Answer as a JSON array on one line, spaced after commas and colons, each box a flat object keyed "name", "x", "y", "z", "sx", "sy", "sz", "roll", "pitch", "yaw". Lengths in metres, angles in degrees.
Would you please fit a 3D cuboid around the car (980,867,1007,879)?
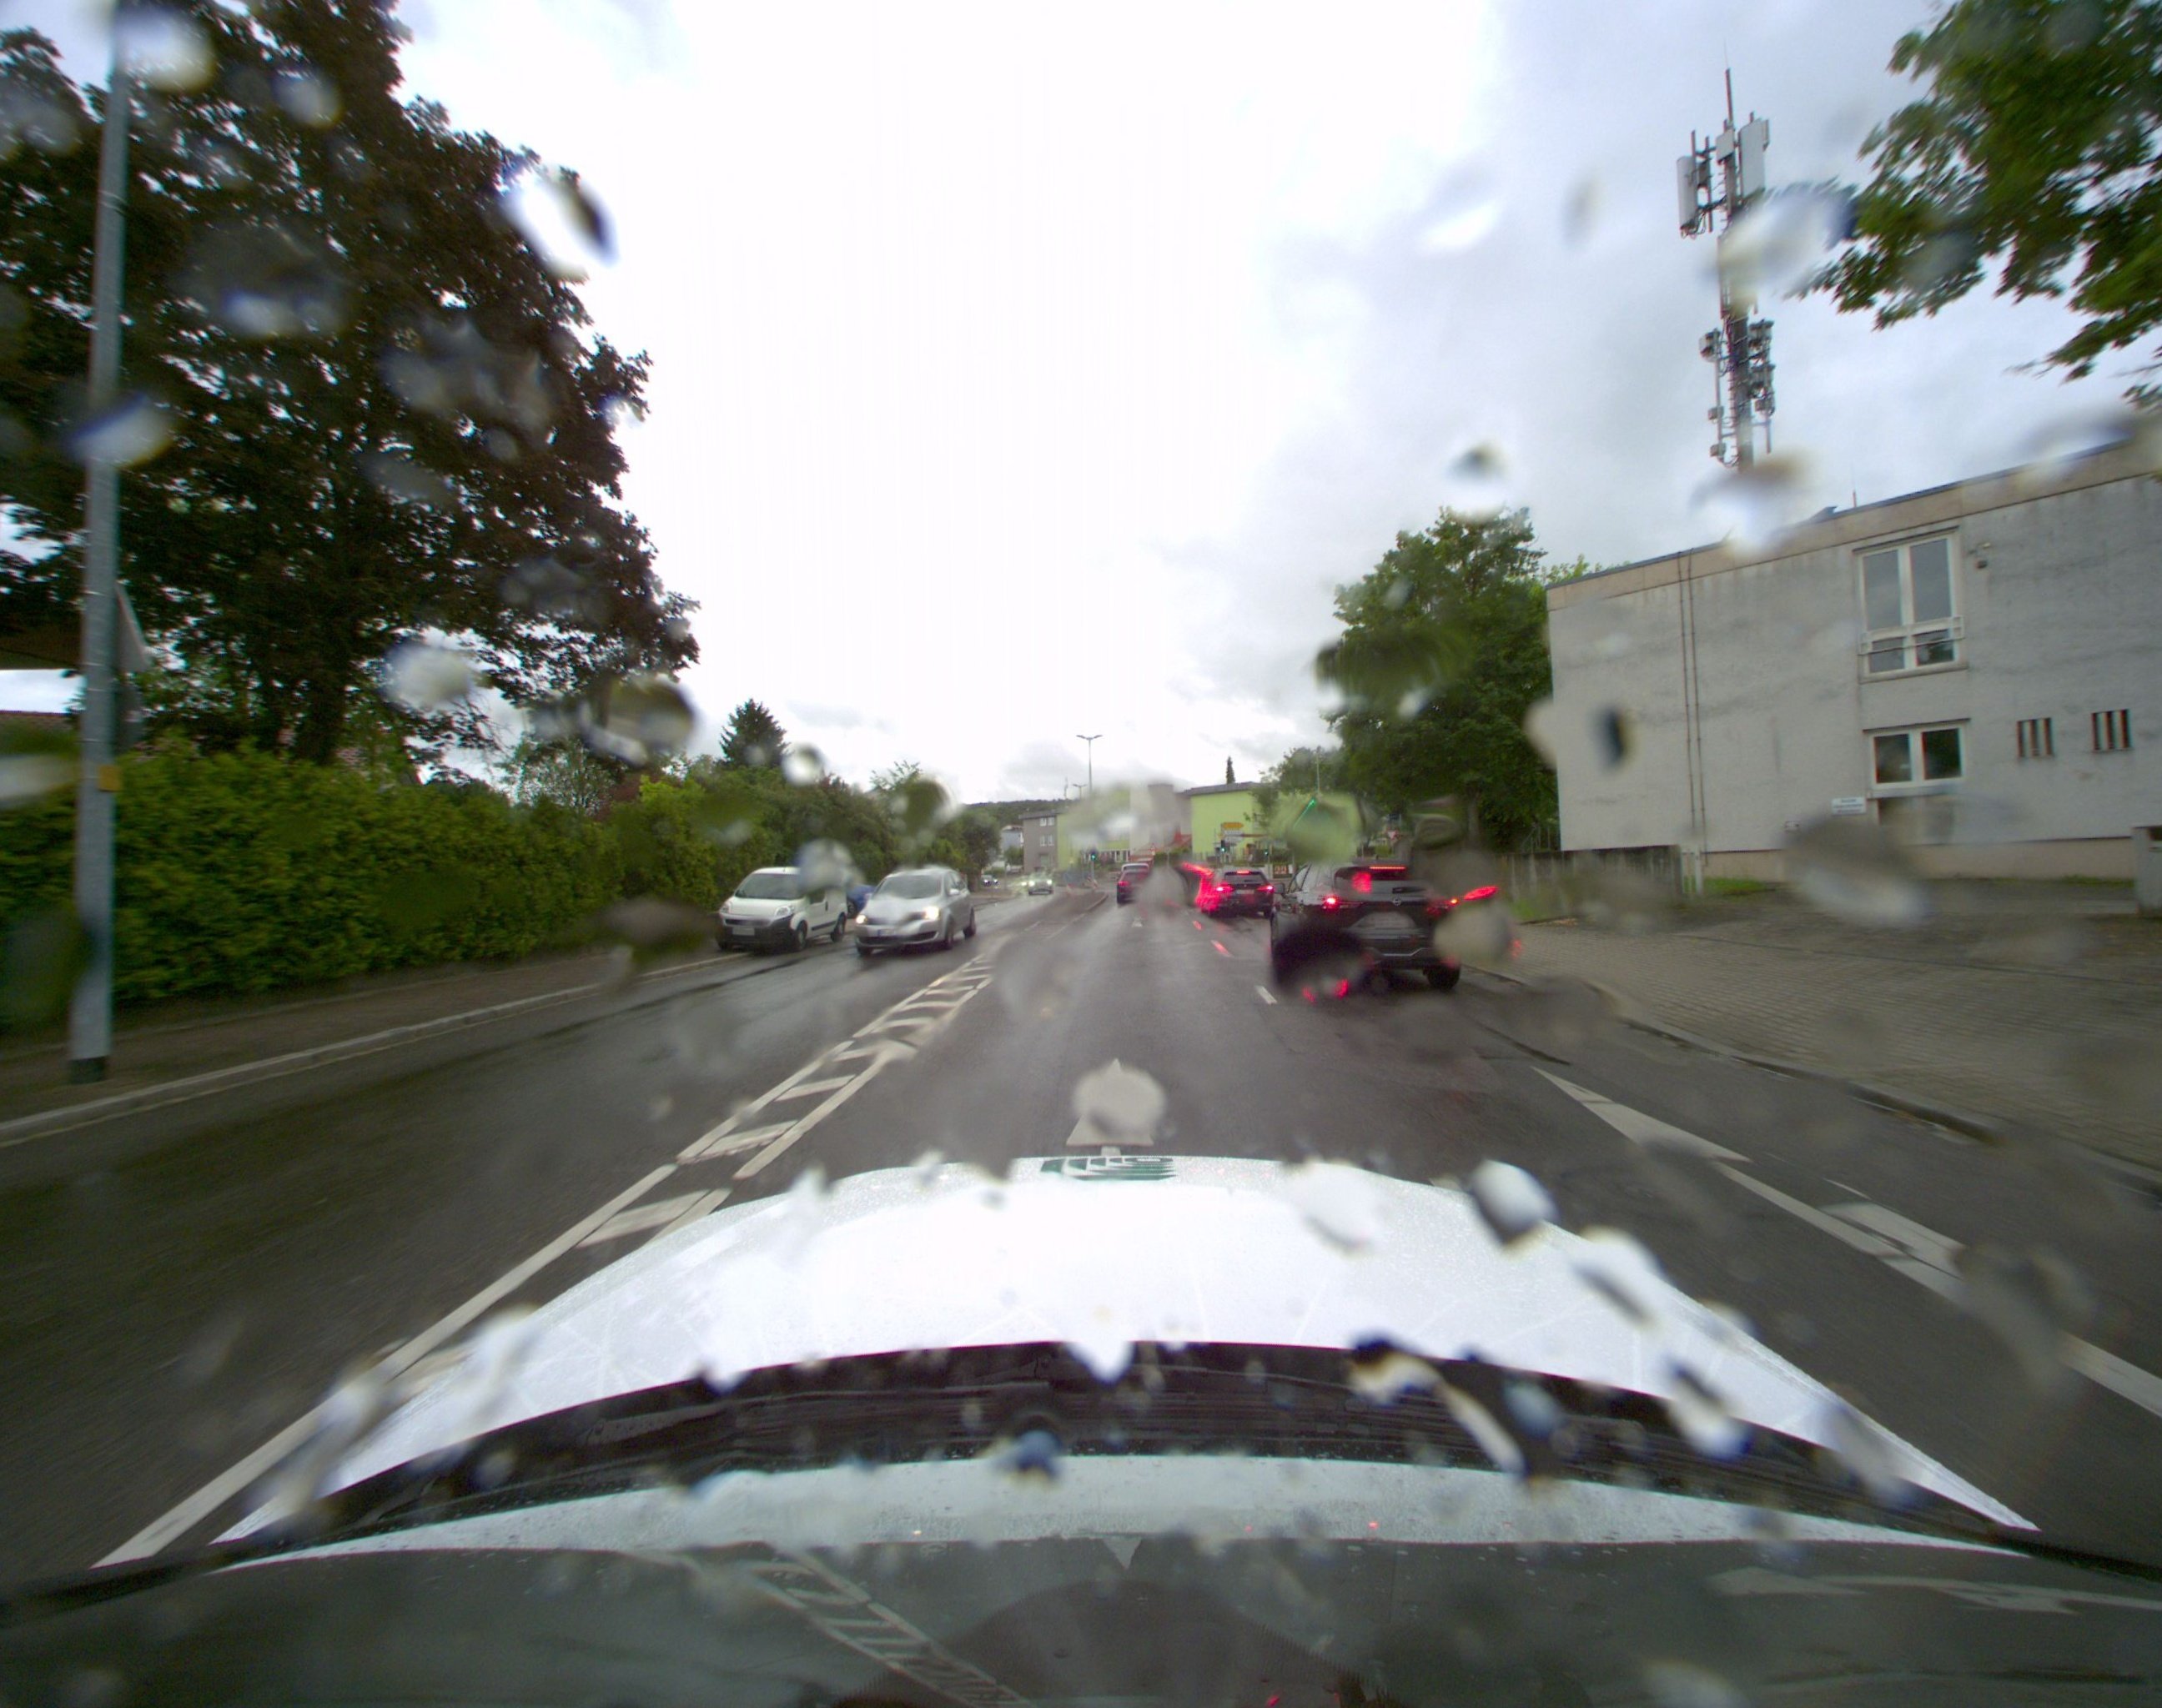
[{"name": "car", "x": -15.346, "y": 3.257, "z": 142.830, "sx": 4.400, "sy": 1.772, "sz": 1.991, "roll": -4, "pitch": -2, "yaw": -13}]

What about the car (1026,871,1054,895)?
[{"name": "car", "x": -3.371, "y": 2.332, "z": 66.557, "sx": 2.038, "sy": 1.716, "sz": 4.473, "roll": -3, "pitch": -1, "yaw": -5}]

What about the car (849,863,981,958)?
[{"name": "car", "x": -3.225, "y": 1.030, "z": 16.614, "sx": 1.628, "sy": 1.579, "sz": 4.059, "roll": -4, "pitch": -1, "yaw": 2}]

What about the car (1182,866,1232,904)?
[{"name": "car", "x": 5.130, "y": 1.229, "z": 33.713, "sx": 1.698, "sy": 1.427, "sz": 4.514, "roll": -2, "pitch": -1, "yaw": 5}]

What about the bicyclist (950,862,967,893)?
[{"name": "bicyclist", "x": -6.632, "y": 1.273, "z": 44.050, "sx": 0.761, "sy": 1.612, "sz": 0.868, "roll": -1, "pitch": -2, "yaw": 2}]

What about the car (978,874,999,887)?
[{"name": "car", "x": -12.457, "y": 3.569, "z": 109.213, "sx": 1.799, "sy": 1.489, "sz": 4.125, "roll": -3, "pitch": -2, "yaw": -20}]

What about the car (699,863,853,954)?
[{"name": "car", "x": -6.481, "y": 1.086, "z": 17.786, "sx": 1.694, "sy": 1.708, "sz": 3.980, "roll": 2, "pitch": -1, "yaw": 2}]

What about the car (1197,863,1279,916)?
[{"name": "car", "x": 4.790, "y": 1.041, "z": 25.527, "sx": 1.897, "sy": 1.458, "sz": 4.782, "roll": -2, "pitch": -1, "yaw": 4}]

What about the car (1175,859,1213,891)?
[{"name": "car", "x": 6.517, "y": 1.163, "z": 47.318, "sx": 1.776, "sy": 1.734, "sz": 4.089, "roll": -1, "pitch": 0, "yaw": 2}]

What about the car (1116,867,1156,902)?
[{"name": "car", "x": 2.548, "y": 1.394, "z": 38.541, "sx": 1.677, "sy": 1.506, "sz": 3.773, "roll": -1, "pitch": -1, "yaw": 0}]

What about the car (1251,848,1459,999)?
[{"name": "car", "x": 3.507, "y": 0.774, "z": 11.265, "sx": 1.781, "sy": 1.603, "sz": 4.260, "roll": -1, "pitch": 1, "yaw": 5}]

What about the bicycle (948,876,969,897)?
[{"name": "bicycle", "x": -6.619, "y": 1.755, "z": 43.971, "sx": 0.744, "sy": 1.086, "sz": 1.990, "roll": 0, "pitch": -2, "yaw": 3}]

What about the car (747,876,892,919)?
[{"name": "car", "x": -9.034, "y": 1.502, "z": 28.450, "sx": 4.472, "sy": 1.362, "sz": 1.803, "roll": 0, "pitch": 0, "yaw": -3}]

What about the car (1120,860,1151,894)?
[{"name": "car", "x": 3.227, "y": 1.318, "z": 48.045, "sx": 1.709, "sy": 1.844, "sz": 4.092, "roll": -1, "pitch": 0, "yaw": 4}]
